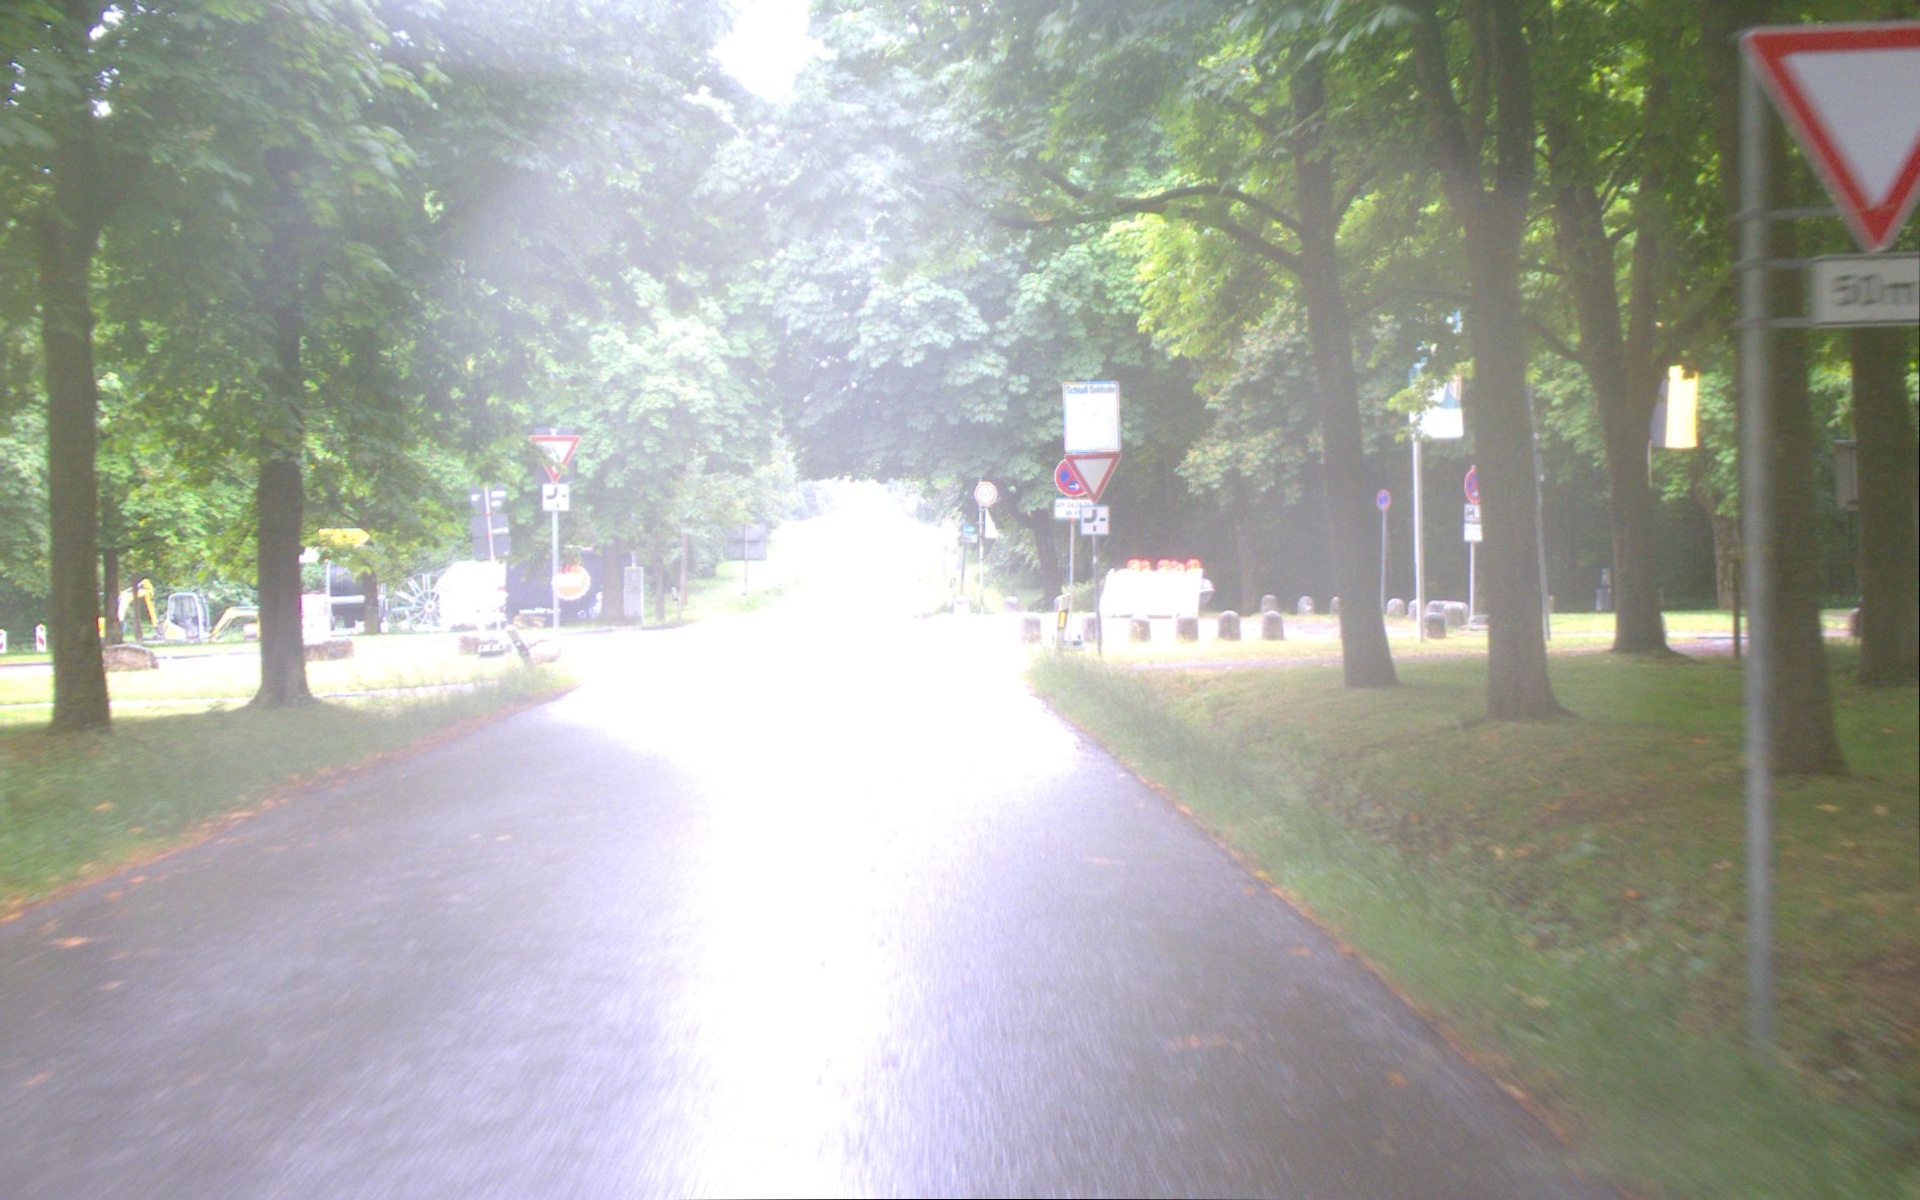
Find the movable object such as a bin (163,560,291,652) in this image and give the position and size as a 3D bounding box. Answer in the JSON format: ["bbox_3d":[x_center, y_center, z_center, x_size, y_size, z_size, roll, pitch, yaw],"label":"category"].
[{"bbox_3d":[-27.922,0.225,131.001,4.580,3.283,3.667,-2,0,-12],"label":"movable object such as a bin"}]

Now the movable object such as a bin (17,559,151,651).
[{"bbox_3d":[-32.901,0.187,129.284,4.653,3.283,3.914,-2,0,-12],"label":"movable object such as a bin"}]
